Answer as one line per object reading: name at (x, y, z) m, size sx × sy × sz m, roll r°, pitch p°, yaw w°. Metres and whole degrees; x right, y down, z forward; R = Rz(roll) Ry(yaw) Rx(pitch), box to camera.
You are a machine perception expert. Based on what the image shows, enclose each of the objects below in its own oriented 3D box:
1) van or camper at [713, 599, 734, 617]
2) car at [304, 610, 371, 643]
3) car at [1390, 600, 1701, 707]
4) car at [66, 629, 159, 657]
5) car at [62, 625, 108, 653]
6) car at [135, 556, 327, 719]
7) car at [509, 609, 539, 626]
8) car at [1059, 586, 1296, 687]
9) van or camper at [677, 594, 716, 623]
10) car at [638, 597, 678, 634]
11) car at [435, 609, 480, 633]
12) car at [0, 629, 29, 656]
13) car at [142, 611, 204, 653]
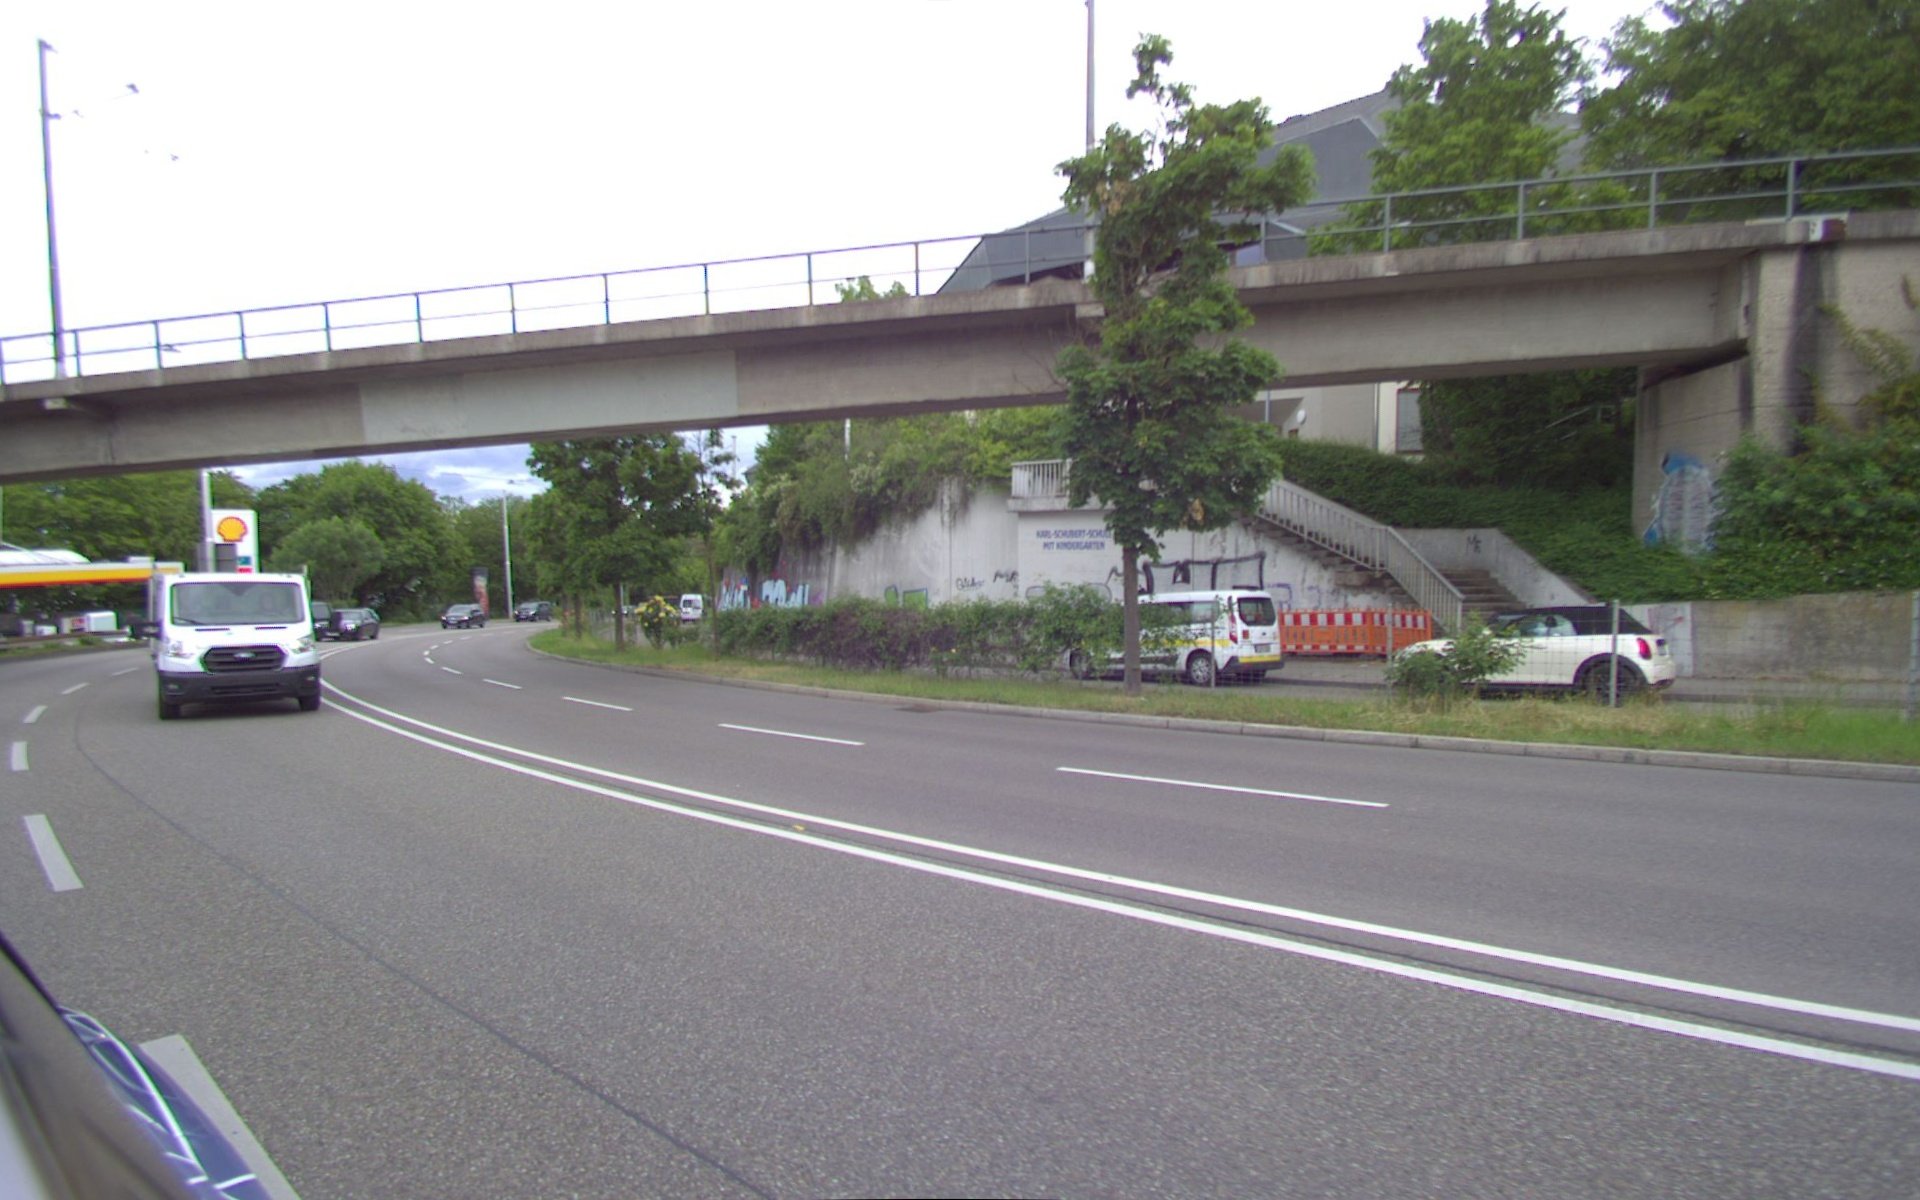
van or camper at (-30.306, 1.009, 129.665) m, size 1.983 × 2.278 × 5.972 m, roll 0°, pitch -1°, yaw -7°
car at (-29.070, 1.215, 47.371) m, size 1.708 × 1.422 × 4.012 m, roll -2°, pitch 0°, yaw -17°
car at (8.896, 0.754, 15.589) m, size 1.745 × 1.430 × 3.807 m, roll 0°, pitch -1°, yaw -43°
car at (-53.956, 2.713, 64.505) m, size 1.596 × 1.442 × 4.248 m, roll 2°, pitch 3°, yaw 31°
car at (-57.987, 2.559, 67.068) m, size 4.097 × 1.531 × 1.607 m, roll 3°, pitch 3°, yaw 39°
car at (-12.102, 0.556, 16.573) m, size 1.969 × 2.190 × 6.277 m, roll 0°, pitch -1°, yaw -41°
car at (-40.003, 1.596, 92.946) m, size 1.702 × 1.489 × 4.009 m, roll -2°, pitch 0°, yaw -12°
car at (4.243, 0.704, 20.314) m, size 1.745 × 1.799 × 4.469 m, roll 1°, pitch -2°, yaw -43°
van or camper at (-22.923, 0.738, 88.159) m, size 1.972 × 2.491 × 5.710 m, roll 0°, pitch 0°, yaw -1°
car at (-19.516, 0.975, 65.676) m, size 2.237 × 2.290 × 6.344 m, roll 0°, pitch 0°, yaw -14°
car at (-34.653, 1.426, 69.907) m, size 1.703 × 1.489 × 4.009 m, roll -2°, pitch 0°, yaw -10°
car at (-60.461, 2.634, 63.320) m, size 4.078 × 1.446 × 1.711 m, roll 2°, pitch 2°, yaw 22°
car at (-29.003, 1.164, 37.360) m, size 1.707 × 1.421 × 4.008 m, roll -1°, pitch 0°, yaw -37°
